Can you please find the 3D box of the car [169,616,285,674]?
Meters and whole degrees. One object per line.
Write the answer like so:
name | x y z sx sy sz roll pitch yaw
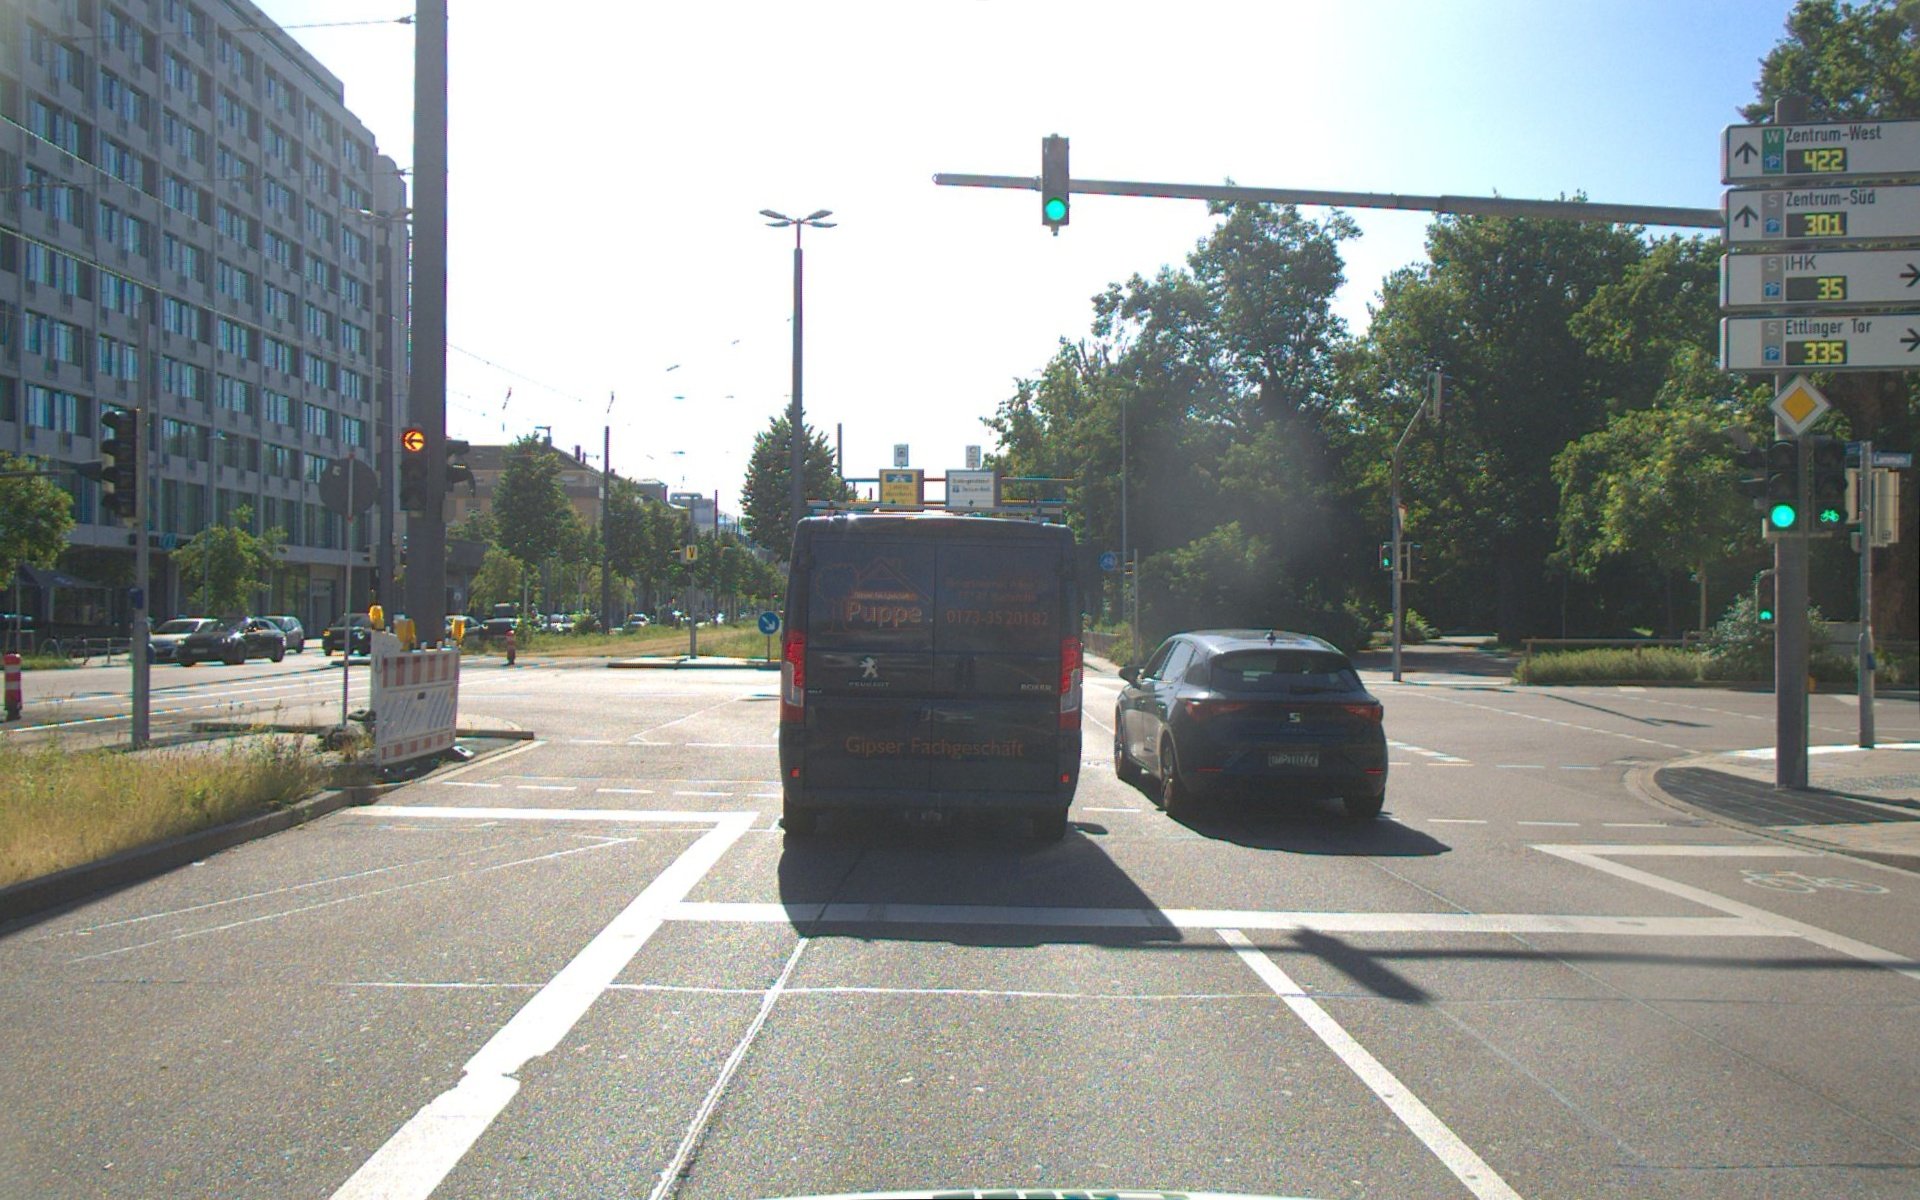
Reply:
car | -22.222 1.337 50.294 1.754 1.680 3.999 0 0 -1

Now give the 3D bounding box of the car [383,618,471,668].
car | -18.873 1.501 58.715 1.754 1.680 4.334 0 0 -1

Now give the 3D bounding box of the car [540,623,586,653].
car | -23.238 2.210 97.024 1.754 1.680 3.999 0 0 -1

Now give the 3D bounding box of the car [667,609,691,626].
car | -27.696 1.751 163.141 1.754 1.680 3.999 0 0 -1

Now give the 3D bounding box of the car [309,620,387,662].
car | -25.353 1.689 68.663 1.754 1.680 3.999 0 0 -1

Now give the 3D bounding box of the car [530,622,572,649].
car | -26.222 2.283 106.097 1.754 1.680 3.999 0 0 -1

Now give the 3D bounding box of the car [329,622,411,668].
car | -22.575 1.695 63.425 1.754 1.680 3.999 0 0 -1

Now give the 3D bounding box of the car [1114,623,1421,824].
car | 2.471 0.947 14.230 1.756 1.453 3.847 1 -1 -3

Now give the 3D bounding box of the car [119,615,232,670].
car | -25.309 1.342 53.510 1.754 1.680 3.999 0 0 -1

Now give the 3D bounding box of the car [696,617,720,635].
car | -24.949 2.560 163.637 1.754 1.680 3.999 0 0 -1

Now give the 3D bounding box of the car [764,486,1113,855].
car | -0.215 0.451 12.782 2.173 2.307 4.482 1 0 -2

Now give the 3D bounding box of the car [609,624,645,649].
car | -23.152 2.551 115.019 1.754 1.680 3.999 0 0 -1

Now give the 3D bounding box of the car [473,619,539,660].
car | -19.496 1.661 71.172 1.754 1.680 3.999 0 0 -1
